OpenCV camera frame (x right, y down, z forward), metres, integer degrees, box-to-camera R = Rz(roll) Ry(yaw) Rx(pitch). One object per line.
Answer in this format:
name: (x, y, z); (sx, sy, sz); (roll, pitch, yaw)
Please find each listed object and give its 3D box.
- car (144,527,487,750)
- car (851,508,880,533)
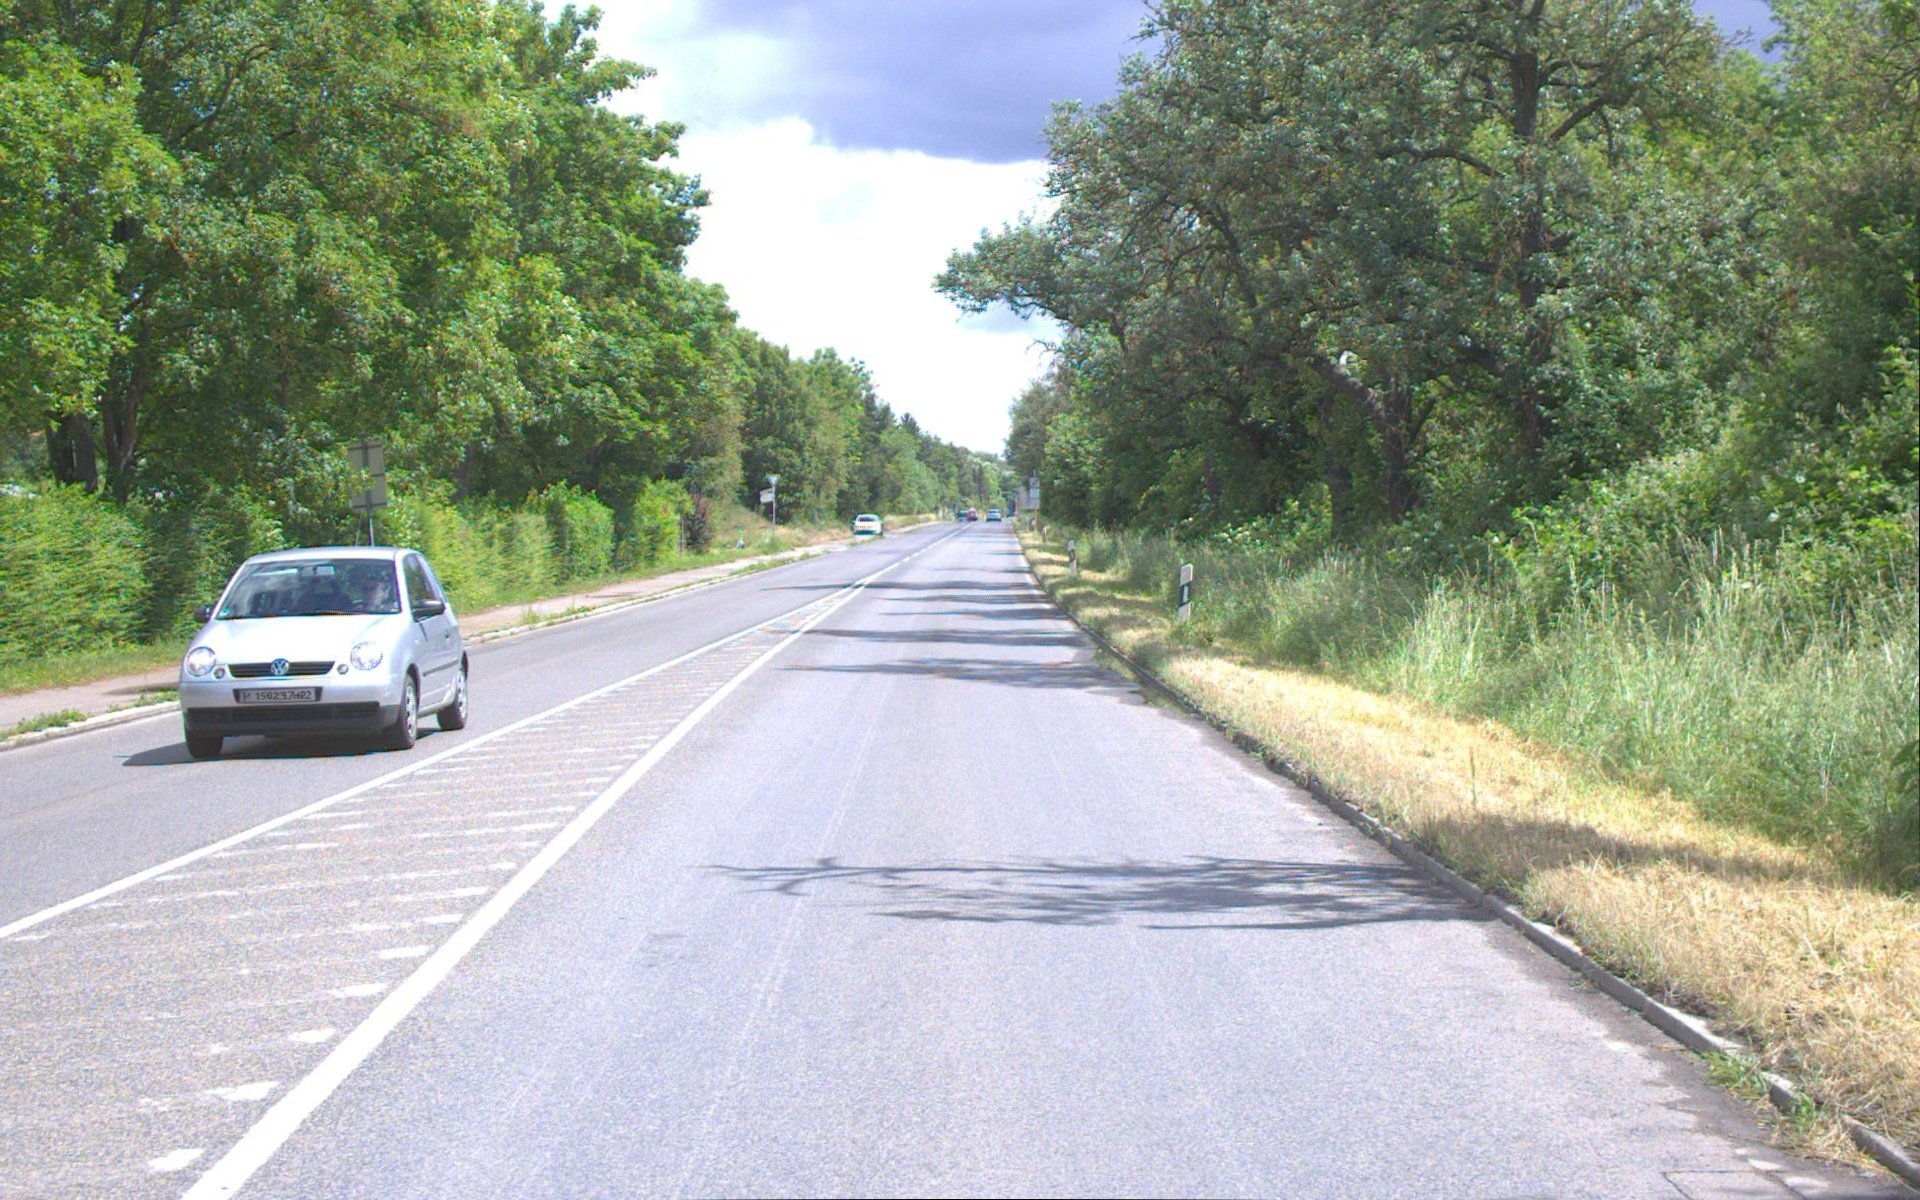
car: (-4.626, 0.223, 25.163); (1.661, 1.427, 3.693); (-2, 2, 2)
car: (-6.453, -5.395, 234.311); (1.798, 1.538, 3.955); (-1, 0, 1)
